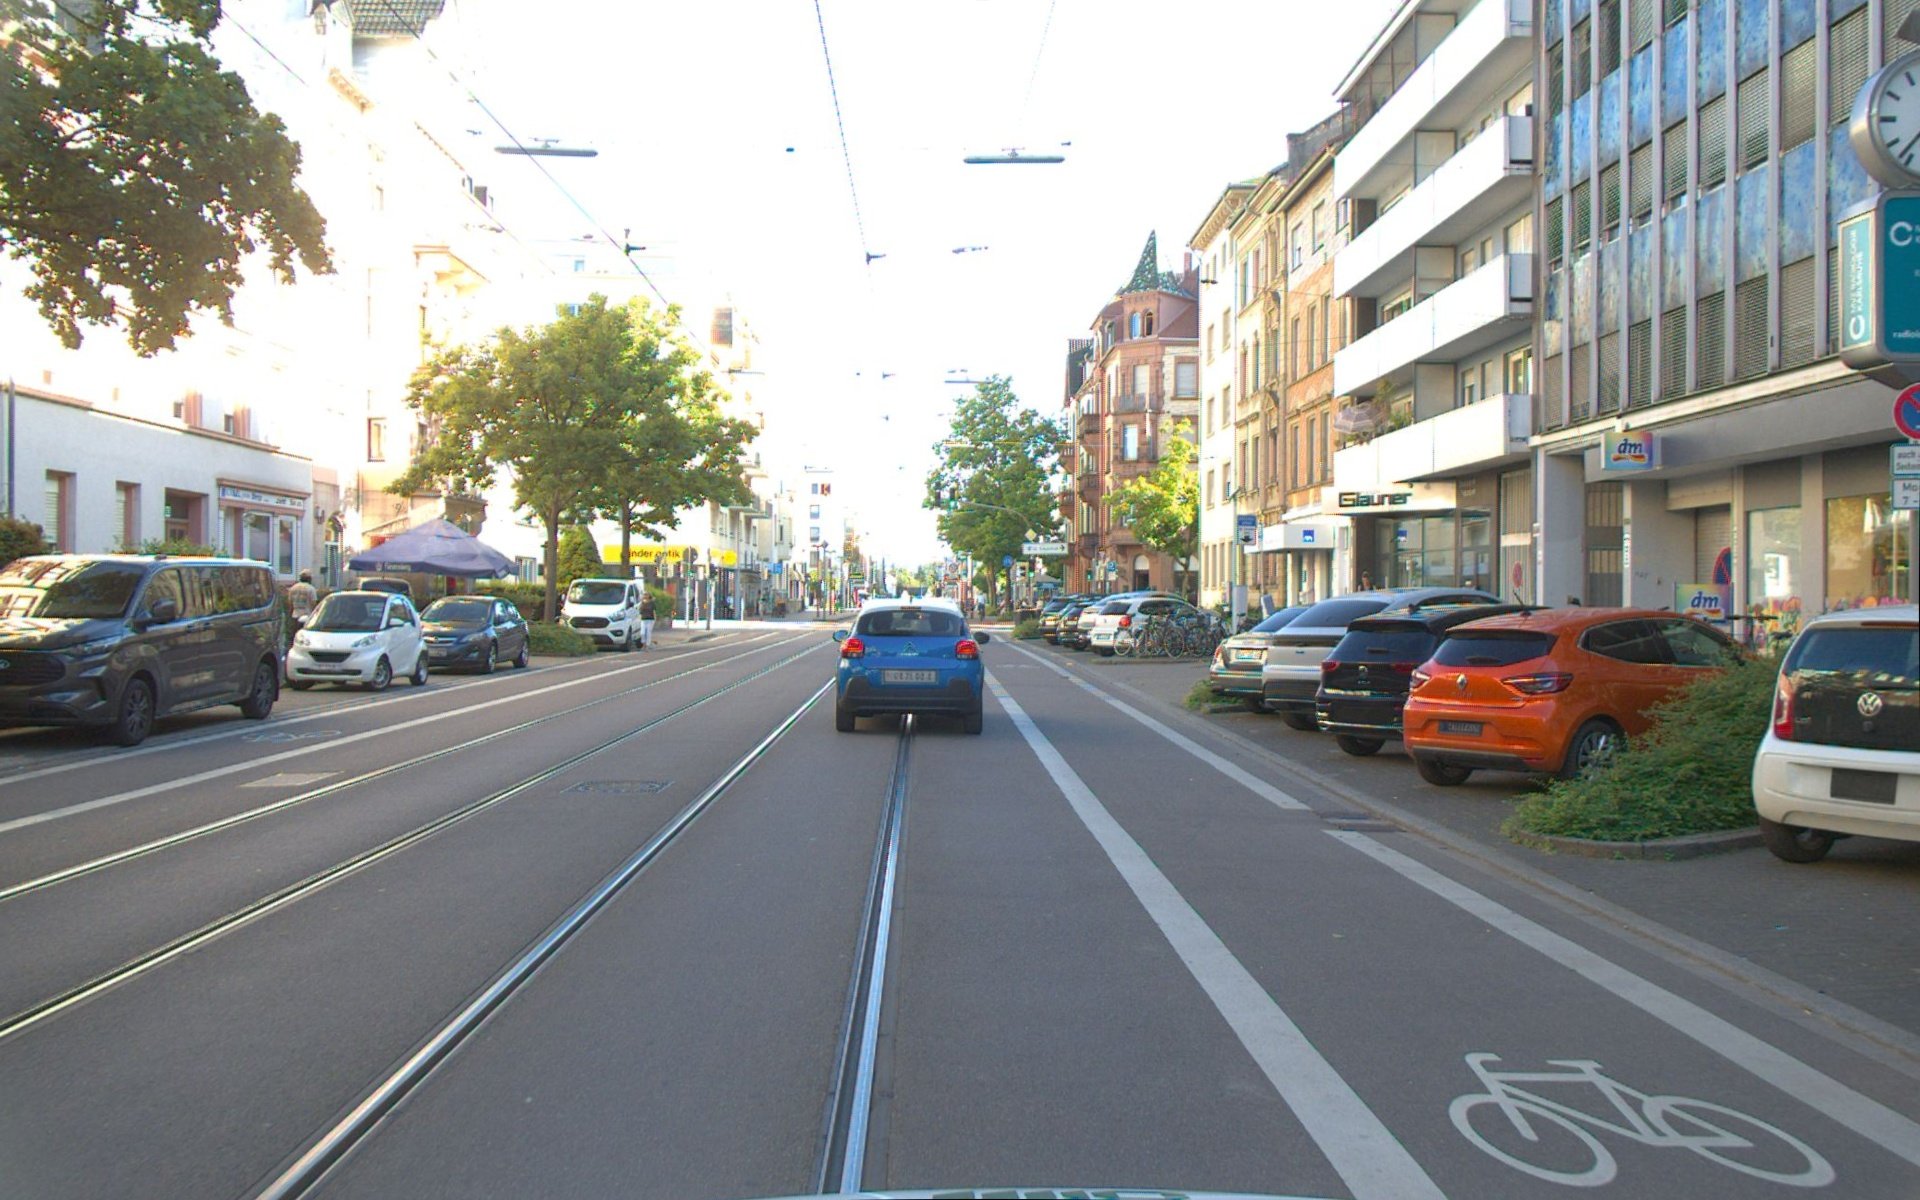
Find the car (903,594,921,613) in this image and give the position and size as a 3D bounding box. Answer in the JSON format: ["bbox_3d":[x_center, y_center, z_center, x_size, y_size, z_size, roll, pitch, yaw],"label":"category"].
[{"bbox_3d":[-3.925,0.276,134.371,1.394,1.457,3.138,1,0,-1],"label":"car"}]

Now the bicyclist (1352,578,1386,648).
[{"bbox_3d":[9.874,0.309,39.938,0.717,1.651,0.529,1,-1,4],"label":"bicyclist"}]

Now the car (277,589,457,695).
[{"bbox_3d":[-9.961,0.668,28.123,1.713,1.646,4.407,1,0,-4],"label":"car"}]

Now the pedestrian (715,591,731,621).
[{"bbox_3d":[-14.164,0.356,98.907,0.926,1.782,0.699,1,-1,-6],"label":"pedestrian"}]

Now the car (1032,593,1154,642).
[{"bbox_3d":[4.389,0.582,54.698,3.601,1.561,1.778,1,0,-21],"label":"car"}]

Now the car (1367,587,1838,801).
[{"bbox_3d":[5.391,0.700,13.790,3.686,1.547,1.945,1,0,-34],"label":"car"}]

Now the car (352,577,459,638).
[{"bbox_3d":[-14.330,0.193,42.916,1.601,1.494,3.526,1,0,-1],"label":"car"}]

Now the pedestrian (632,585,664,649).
[{"bbox_3d":[-8.626,0.471,45.664,0.720,1.756,0.623,1,-1,-25],"label":"pedestrian"}]

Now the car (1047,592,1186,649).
[{"bbox_3d":[4.547,0.591,48.095,3.601,1.601,1.850,1,0,-21],"label":"car"}]

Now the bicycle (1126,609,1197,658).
[{"bbox_3d":[4.611,0.757,37.947,0.549,1.066,1.784,1,0,-36],"label":"bicycle"}]

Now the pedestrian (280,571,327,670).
[{"bbox_3d":[-12.605,0.392,31.787,0.612,1.856,0.659,1,-1,-1],"label":"pedestrian"}]

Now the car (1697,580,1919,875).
[{"bbox_3d":[6.340,0.684,9.792,3.735,1.513,1.819,1,0,-31],"label":"car"}]

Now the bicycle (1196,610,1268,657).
[{"bbox_3d":[6.484,0.797,39.476,0.549,1.066,1.782,1,0,-39],"label":"bicycle"}]

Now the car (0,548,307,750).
[{"bbox_3d":[-9.323,0.499,19.186,1.713,2.008,5.236,1,0,-4],"label":"car"}]

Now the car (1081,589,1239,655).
[{"bbox_3d":[5.076,0.555,41.936,3.615,1.601,1.842,1,0,-30],"label":"car"}]

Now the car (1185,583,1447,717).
[{"bbox_3d":[4.827,0.645,22.274,3.417,1.668,1.662,1,0,-38],"label":"car"}]

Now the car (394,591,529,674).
[{"bbox_3d":[-9.779,0.611,32.702,1.713,1.513,4.038,1,0,-5],"label":"car"}]

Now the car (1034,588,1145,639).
[{"bbox_3d":[4.690,0.493,59.866,3.601,1.745,1.778,1,0,-21],"label":"car"}]

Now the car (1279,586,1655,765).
[{"bbox_3d":[5.030,0.690,16.334,3.409,1.582,1.803,1,0,-33],"label":"car"}]

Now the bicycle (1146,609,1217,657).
[{"bbox_3d":[5.122,0.764,38.316,0.549,1.066,1.784,1,0,-36],"label":"bicycle"}]

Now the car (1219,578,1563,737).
[{"bbox_3d":[5.100,0.635,19.475,3.686,1.681,2.023,1,0,-34],"label":"car"}]

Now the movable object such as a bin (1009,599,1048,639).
[{"bbox_3d":[2.642,0.741,63.910,1.366,1.509,1.655,1,0,-1],"label":"movable object such as a bin"}]

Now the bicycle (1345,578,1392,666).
[{"bbox_3d":[9.864,0.521,39.971,0.713,2.049,2.359,1,0,5],"label":"bicycle"}]

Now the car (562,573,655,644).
[{"bbox_3d":[-9.948,0.240,47.082,1.794,1.880,4.213,1,0,-1],"label":"car"}]

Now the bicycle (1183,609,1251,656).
[{"bbox_3d":[6.054,0.763,39.044,0.464,1.066,1.784,1,0,-37],"label":"bicycle"}]

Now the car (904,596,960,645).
[{"bbox_3d":[-0.963,0.697,57.336,1.835,1.624,3.999,1,0,-1],"label":"car"}]

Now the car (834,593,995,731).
[{"bbox_3d":[-0.536,0.676,19.686,1.727,1.466,3.555,1,0,-2],"label":"car"}]

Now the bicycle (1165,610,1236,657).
[{"bbox_3d":[5.607,0.777,38.706,0.549,1.066,1.784,1,0,-36],"label":"bicycle"}]

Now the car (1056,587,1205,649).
[{"bbox_3d":[4.638,0.495,45.045,3.601,1.601,1.850,1,0,-21],"label":"car"}]

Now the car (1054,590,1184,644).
[{"bbox_3d":[4.916,0.514,51.222,3.601,1.601,1.850,1,0,-21],"label":"car"}]
